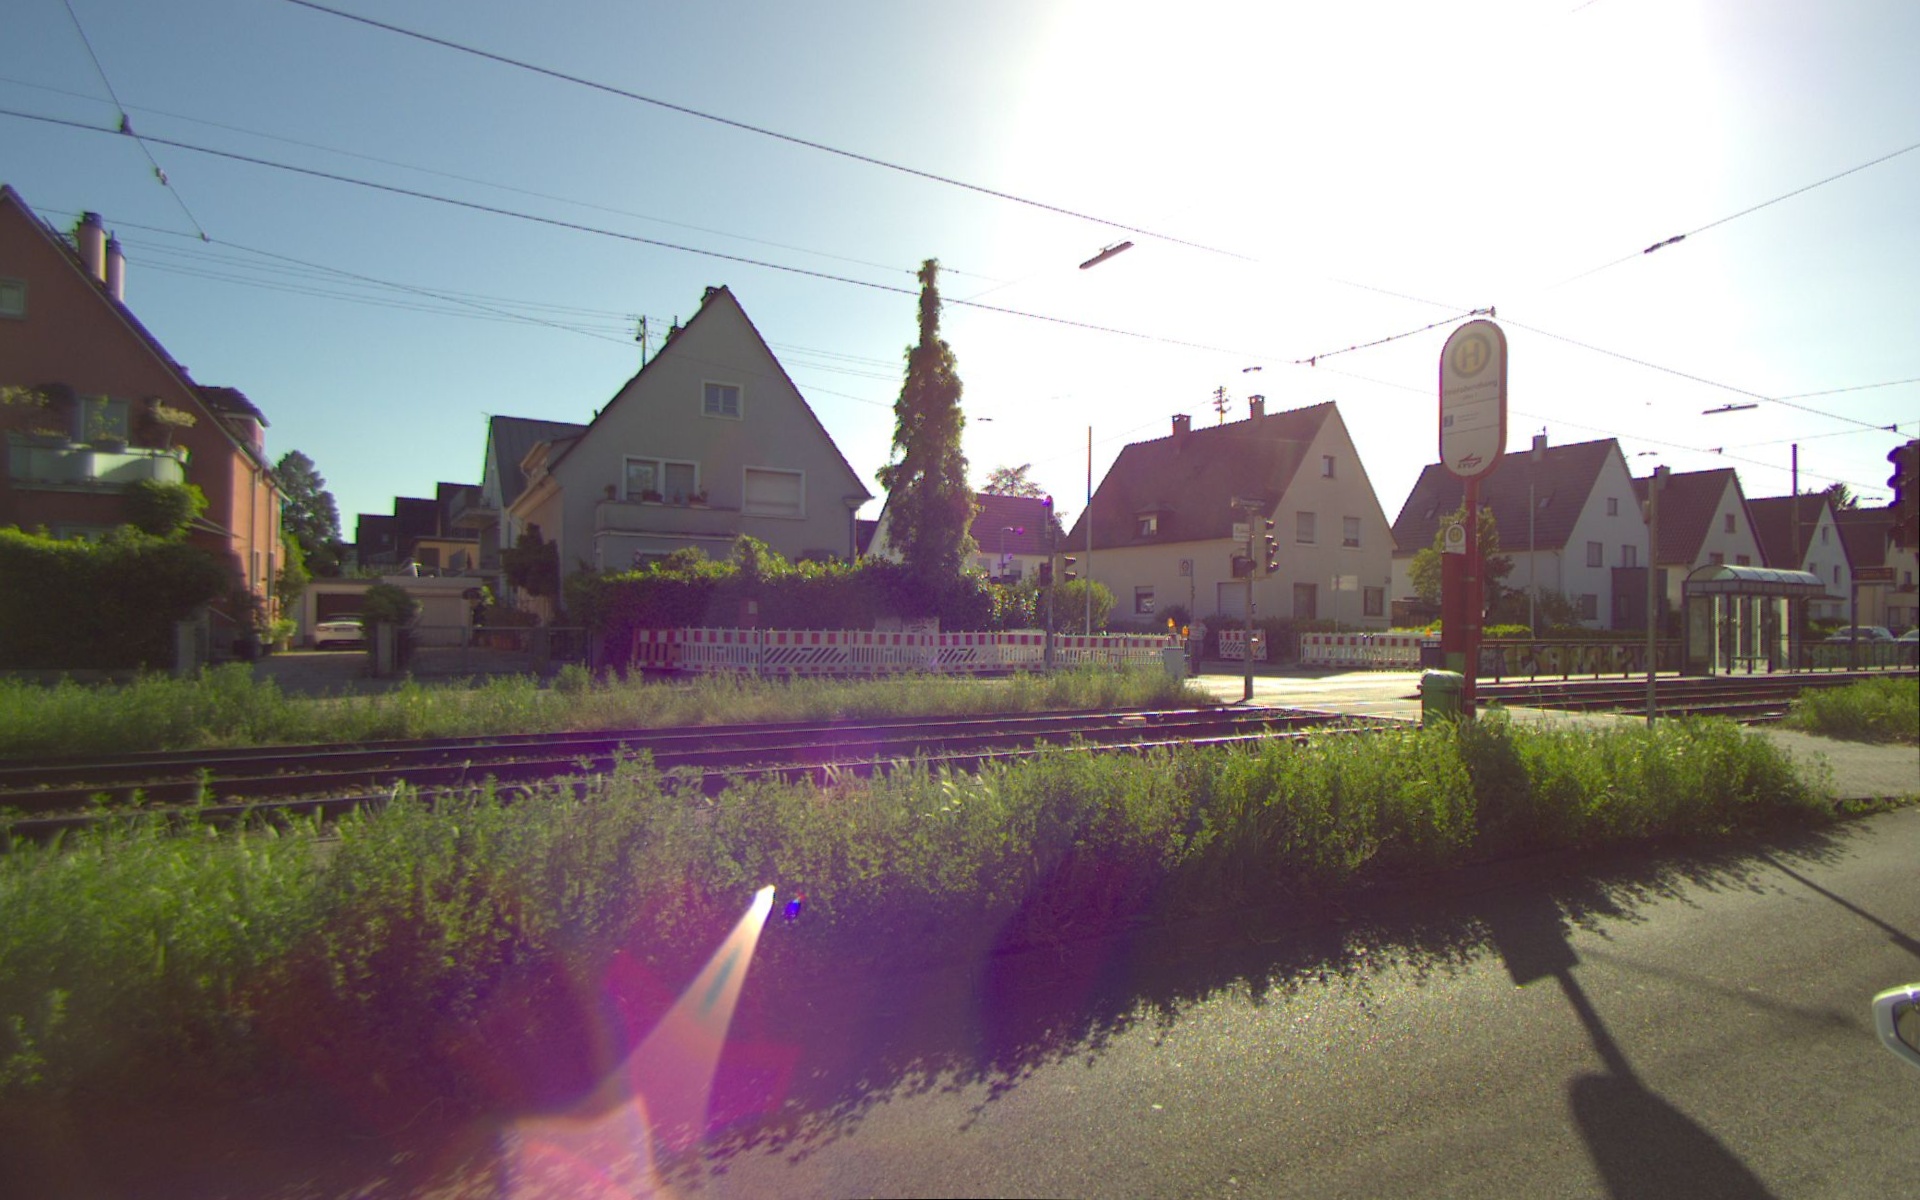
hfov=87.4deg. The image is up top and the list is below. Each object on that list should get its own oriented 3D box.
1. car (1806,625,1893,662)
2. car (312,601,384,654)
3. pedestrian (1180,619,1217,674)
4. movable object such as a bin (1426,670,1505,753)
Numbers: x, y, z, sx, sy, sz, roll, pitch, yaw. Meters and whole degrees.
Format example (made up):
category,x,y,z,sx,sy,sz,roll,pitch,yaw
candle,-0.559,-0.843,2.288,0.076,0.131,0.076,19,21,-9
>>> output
category,x,y,z,sx,sy,sz,roll,pitch,yaw
car,44.561,2.166,50.314,4.339,1.736,1.984,2,0,-30
car,-20.925,0.903,34.446,1.977,1.639,3.967,2,0,-31
pedestrian,7.044,1.354,29.632,0.800,1.555,0.791,-1,0,36
movable object such as a bin,3.904,0.854,7.764,0.373,0.590,0.386,2,0,-21
